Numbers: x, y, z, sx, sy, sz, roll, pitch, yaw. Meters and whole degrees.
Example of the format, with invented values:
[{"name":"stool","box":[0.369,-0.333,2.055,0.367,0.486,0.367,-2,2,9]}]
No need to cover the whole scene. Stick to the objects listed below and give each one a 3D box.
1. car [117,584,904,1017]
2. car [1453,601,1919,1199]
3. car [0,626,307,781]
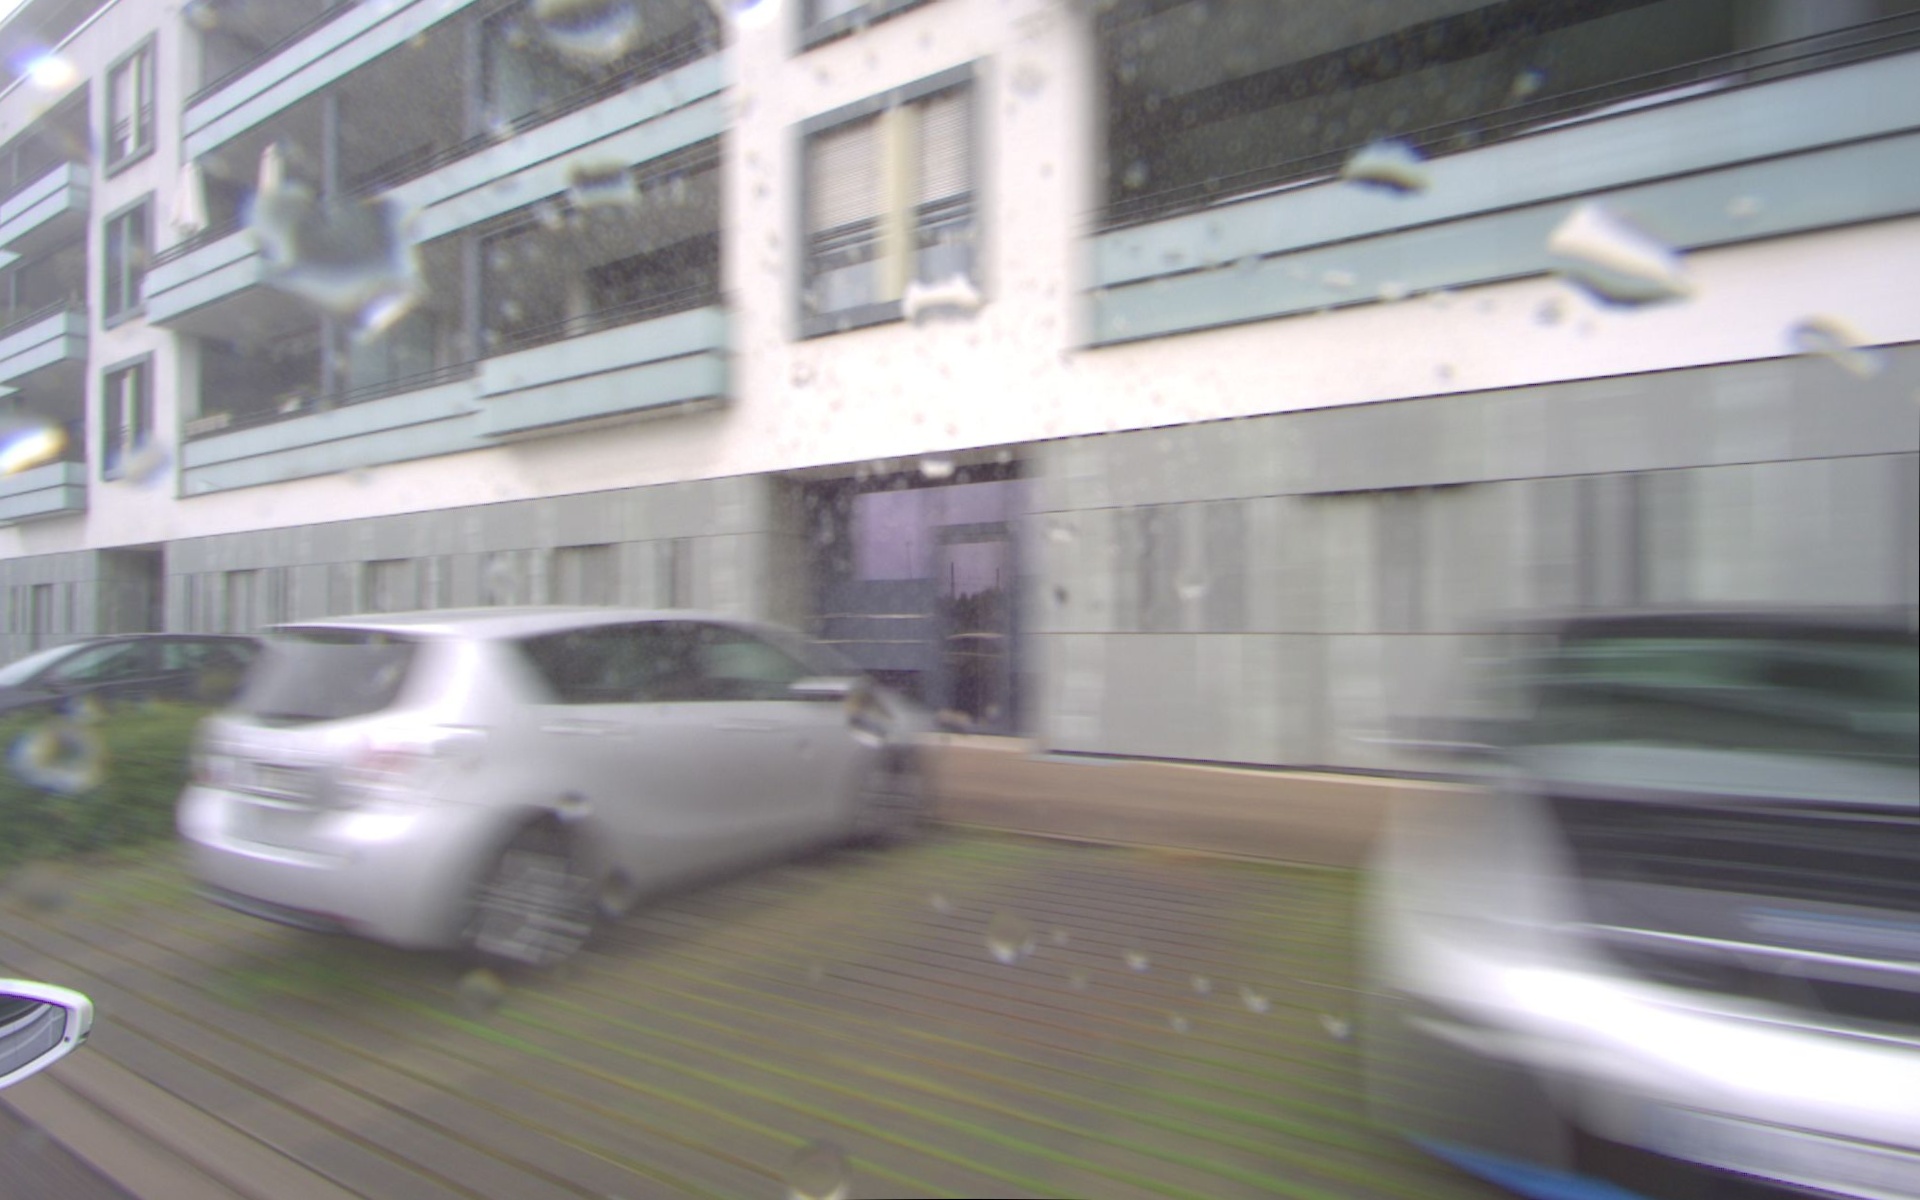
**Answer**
[{"name":"car","box":[-2.196,0.849,6.102,1.662,1.665,4.203,-1,-2,31]},{"name":"car","box":[3.129,0.774,4.237,1.723,1.502,4.172,-1,-1,28]},{"name":"car","box":[-9.922,1.090,11.366,1.737,1.510,3.837,0,0,32]}]
